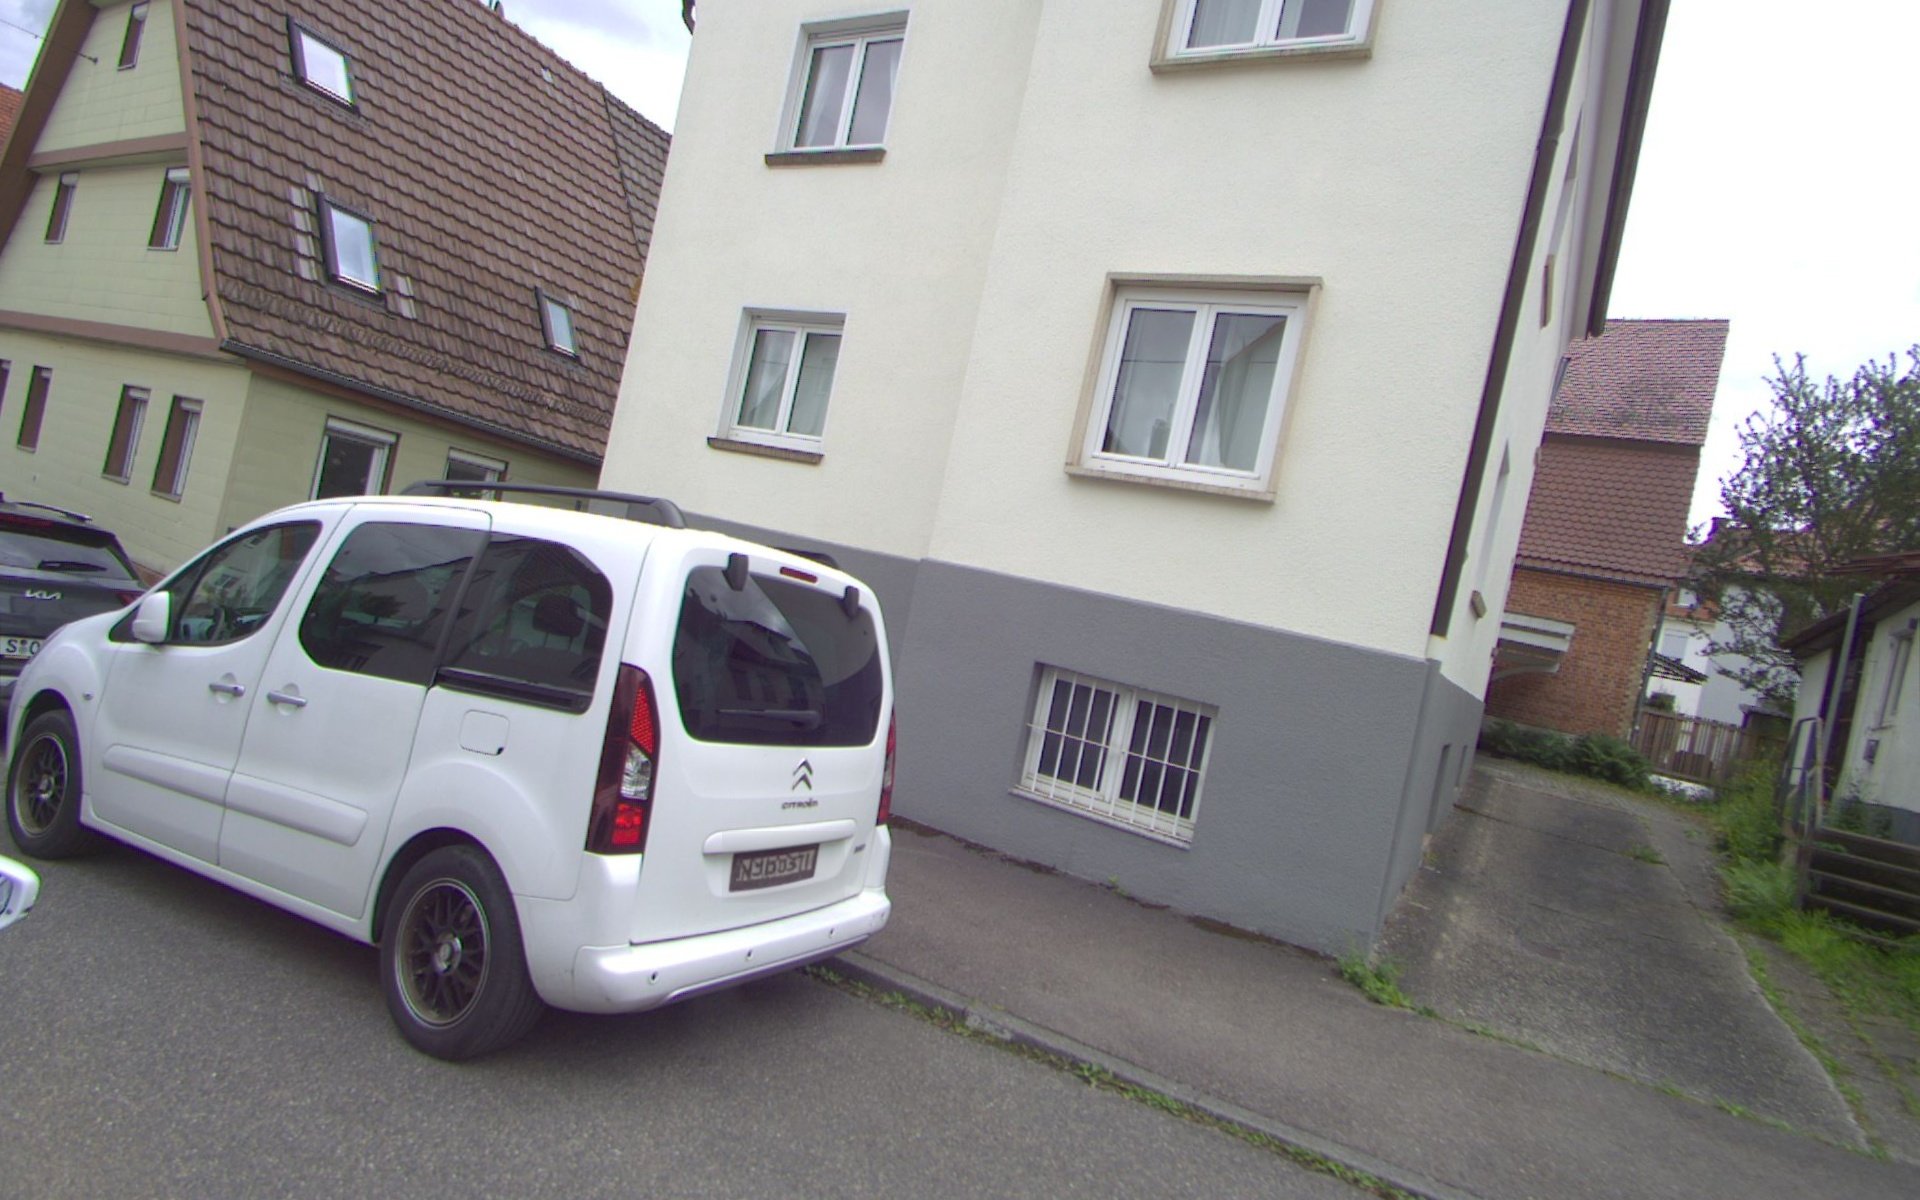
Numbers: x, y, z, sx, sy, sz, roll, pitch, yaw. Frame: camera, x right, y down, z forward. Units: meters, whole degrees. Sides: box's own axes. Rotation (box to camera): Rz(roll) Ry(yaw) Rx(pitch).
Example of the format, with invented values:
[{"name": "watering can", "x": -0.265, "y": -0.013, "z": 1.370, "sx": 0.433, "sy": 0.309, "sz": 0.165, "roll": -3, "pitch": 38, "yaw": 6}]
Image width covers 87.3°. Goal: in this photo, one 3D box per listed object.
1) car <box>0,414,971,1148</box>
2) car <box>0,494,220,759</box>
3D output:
[{"name": "car", "x": -2.361, "y": 0.424, "z": 4.514, "sx": 4.228, "sy": 1.833, "sz": 1.843, "roll": 8, "pitch": -3, "yaw": 27}, {"name": "car", "x": -7.265, "y": -0.044, "z": 6.799, "sx": 3.978, "sy": 1.522, "sz": 1.741, "roll": 7, "pitch": -4, "yaw": 24}]
